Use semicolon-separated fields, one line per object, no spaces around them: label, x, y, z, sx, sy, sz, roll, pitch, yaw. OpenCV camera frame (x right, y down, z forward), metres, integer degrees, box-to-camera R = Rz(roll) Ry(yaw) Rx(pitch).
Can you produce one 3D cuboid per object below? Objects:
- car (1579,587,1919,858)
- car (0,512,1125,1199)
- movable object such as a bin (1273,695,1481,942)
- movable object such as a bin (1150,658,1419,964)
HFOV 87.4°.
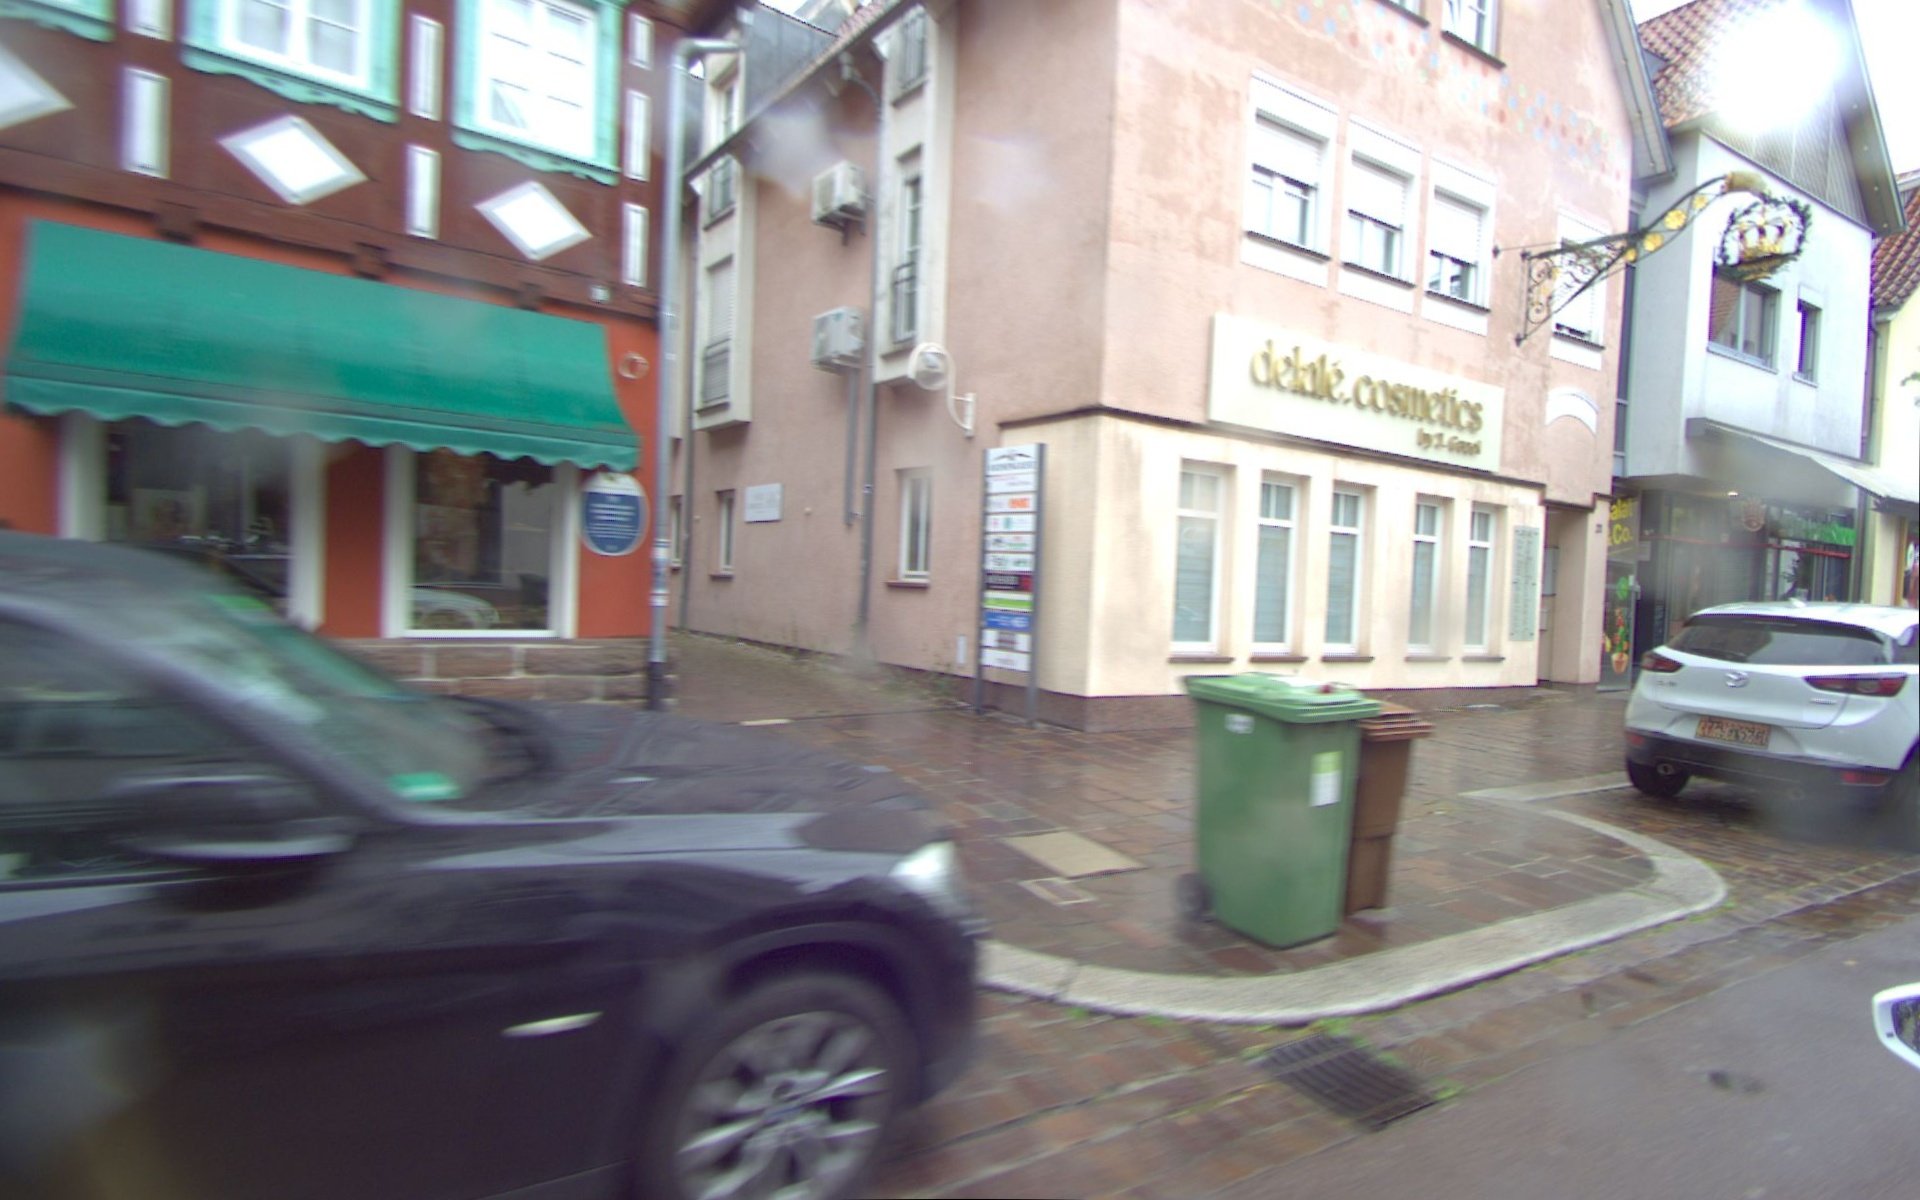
car;6.818;0.791;7.711;3.952;1.587;1.819;3;0;-30
car;-1.876;0.641;2.213;4.234;1.572;1.823;3;0;-32
movable object such as a bin;1.906;0.955;4.630;0.555;0.968;0.654;2;0;-28
movable object such as a bin;1.360;0.824;4.274;0.754;1.097;0.744;2;0;-28
